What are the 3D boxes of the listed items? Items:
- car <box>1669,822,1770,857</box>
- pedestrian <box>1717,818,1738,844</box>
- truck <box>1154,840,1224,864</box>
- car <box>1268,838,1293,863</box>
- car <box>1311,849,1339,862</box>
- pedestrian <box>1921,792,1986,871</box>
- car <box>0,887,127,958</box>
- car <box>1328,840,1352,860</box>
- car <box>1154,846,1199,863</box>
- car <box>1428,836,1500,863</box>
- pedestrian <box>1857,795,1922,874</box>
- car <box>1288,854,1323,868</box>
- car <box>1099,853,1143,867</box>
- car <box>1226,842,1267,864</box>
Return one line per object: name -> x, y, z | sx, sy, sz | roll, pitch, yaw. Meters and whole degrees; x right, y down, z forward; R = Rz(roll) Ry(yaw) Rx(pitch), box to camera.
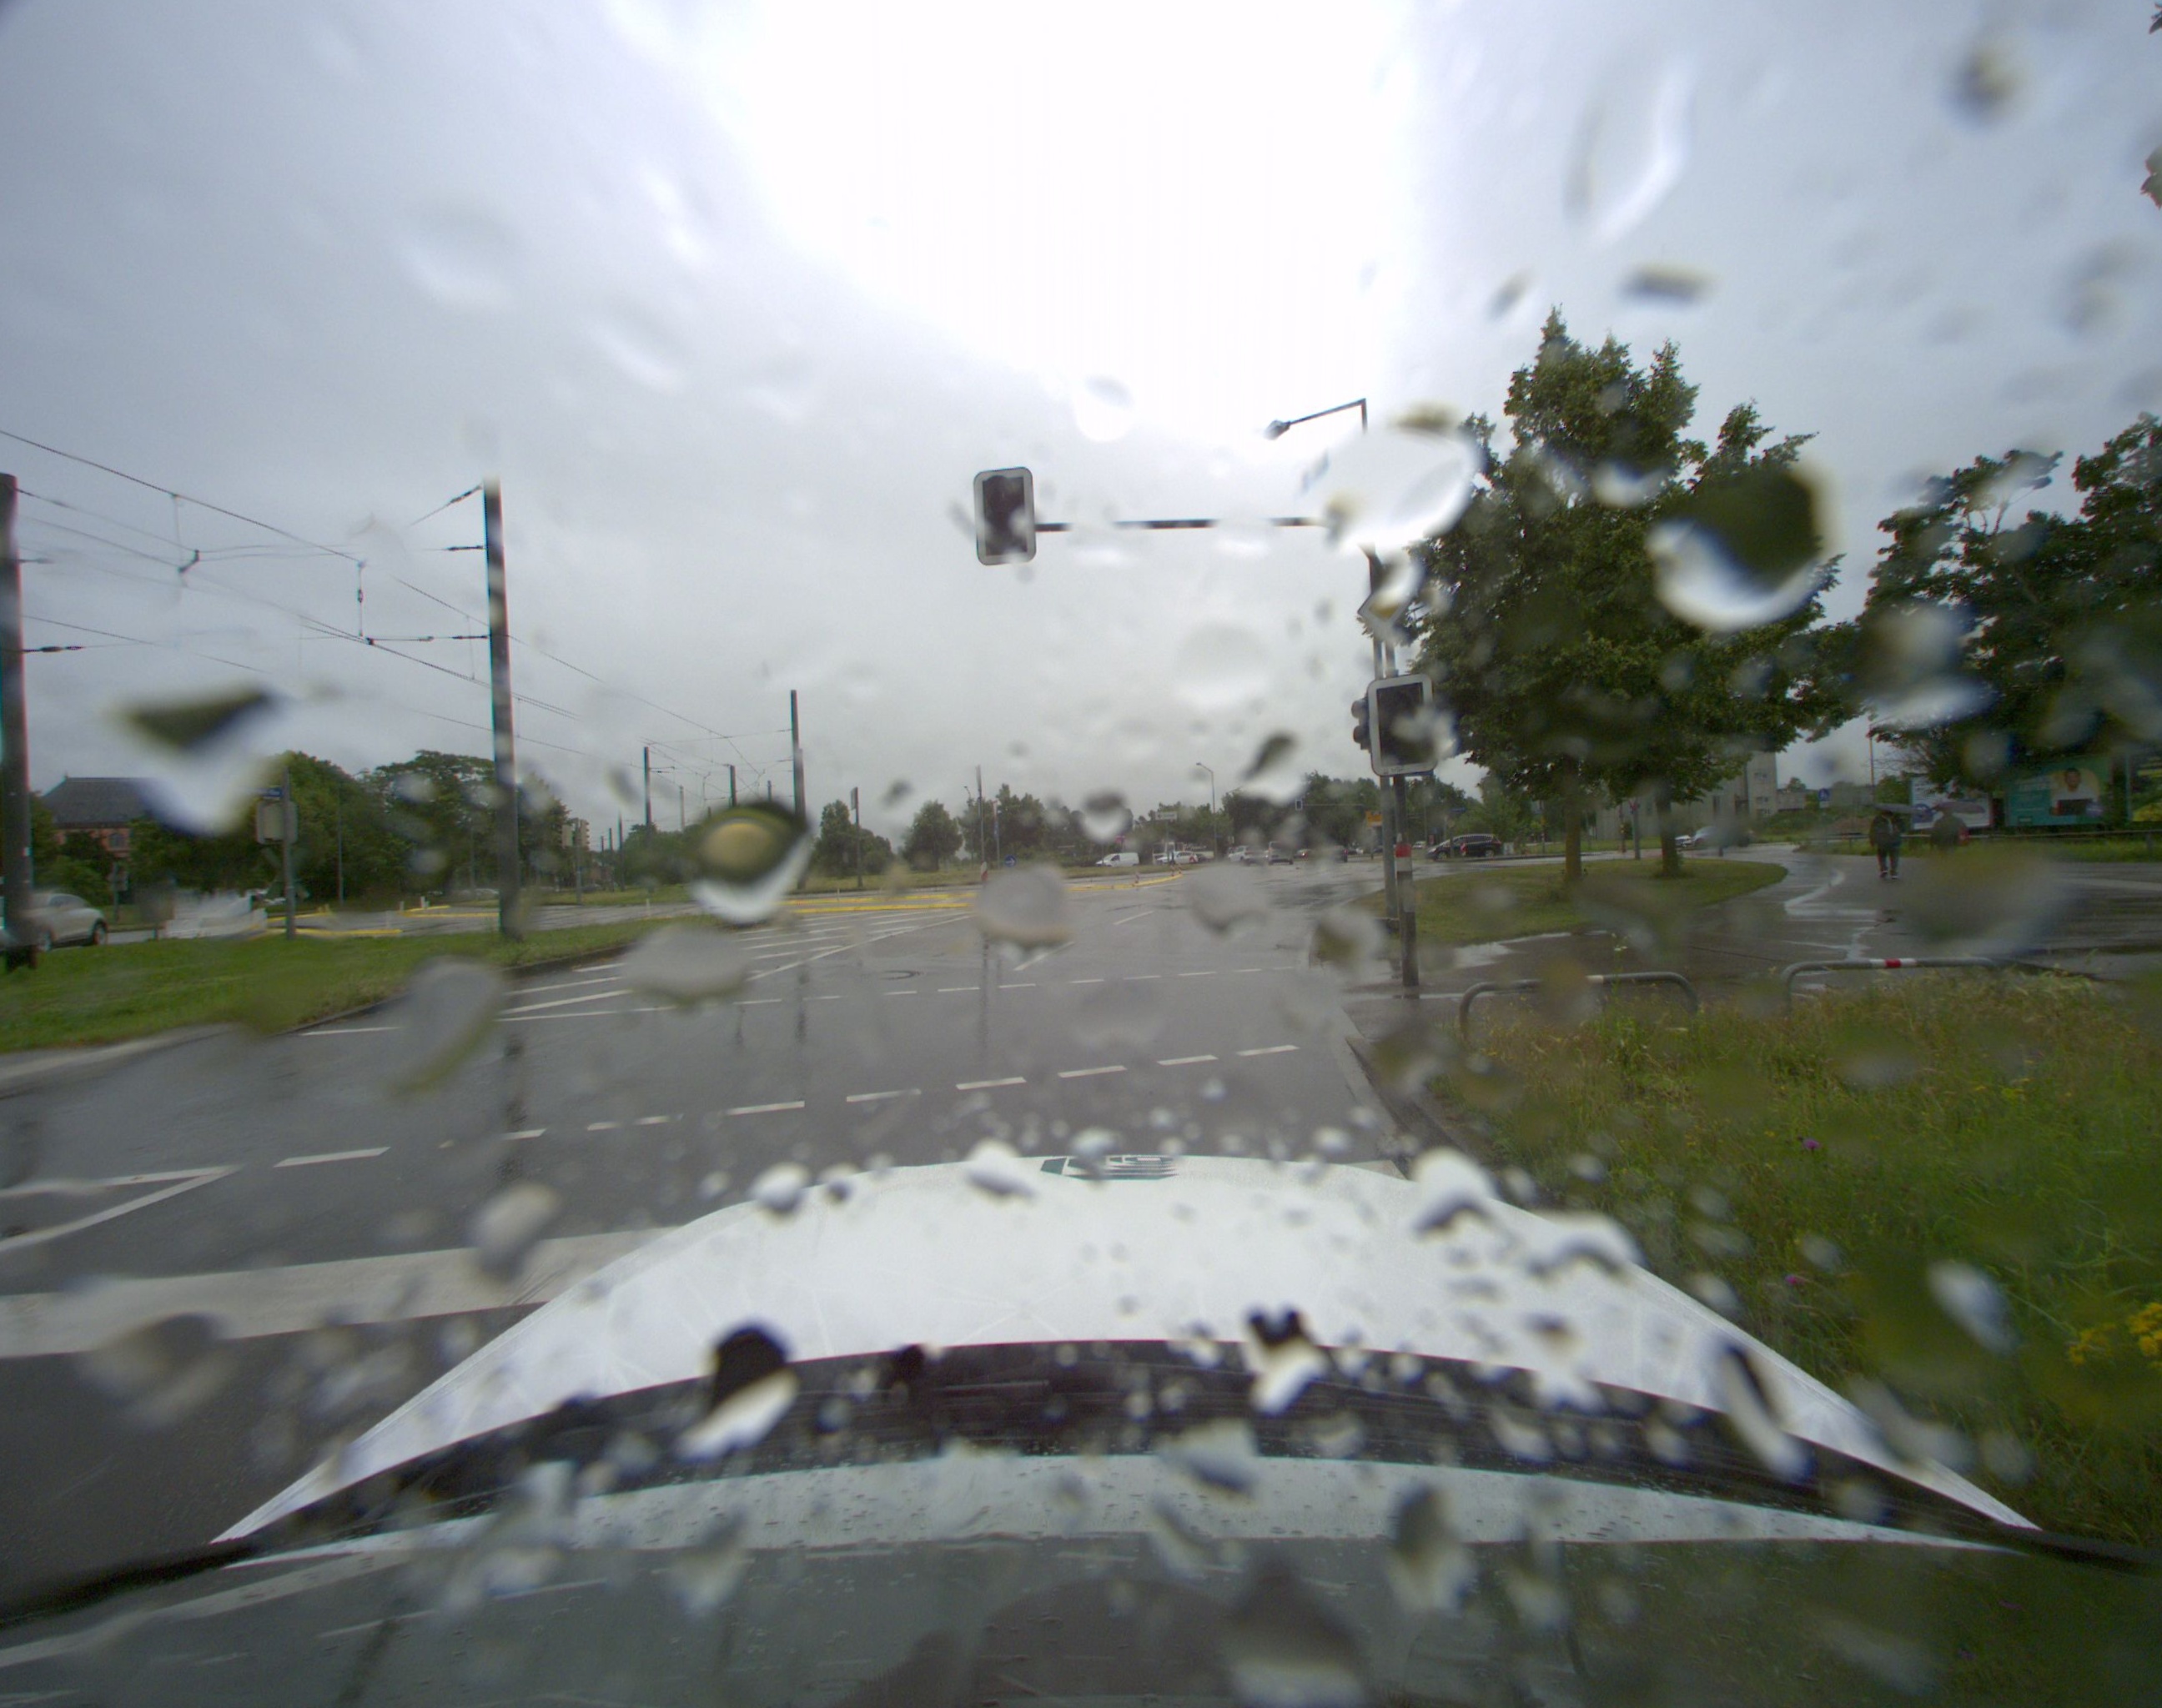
car -> 40.268, -0.905, 51.421 | 4.804, 1.810, 1.790 | -5, 0, 1
pedestrian -> 45.413, -1.589, 57.209 | 0.947, 1.772, 0.715 | -1, -1, 11
truck -> 12.847, -0.263, 96.316 | 8.820, 2.711, 1.981 | 0, -1, -29
car -> 17.177, -0.280, 69.996 | 1.769, 2.036, 4.019 | -1, -1, 18
car -> 33.393, 0.167, 111.519 | 1.975, 1.750, 4.023 | -1, -1, 45
pedestrian -> 20.532, -0.507, 19.170 | 0.811, 1.784, 0.914 | 0, -1, -33
car -> -25.722, 1.618, 19.773 | 1.856, 1.486, 4.188 | 0, -1, -28
car -> 21.442, -0.350, 67.545 | 1.676, 1.492, 3.264 | -3, 0, 14
car -> 10.055, 0.087, 85.992 | 4.889, 1.744, 1.758 | 0, -1, -38
car -> 24.659, -0.253, 52.531 | 3.957, 1.648, 1.796 | -1, -1, 15
pedestrian -> 18.893, -0.439, 19.032 | 0.811, 1.784, 0.914 | 0, -1, -33
car -> 29.333, 0.901, 106.302 | 4.889, 1.744, 1.758 | 0, -1, -38
car -> 4.280, 0.653, 86.932 | 4.563, 1.492, 1.596 | 0, -1, -30
car -> 12.765, -0.079, 62.994 | 1.682, 1.648, 3.931 | 0, -1, -12
